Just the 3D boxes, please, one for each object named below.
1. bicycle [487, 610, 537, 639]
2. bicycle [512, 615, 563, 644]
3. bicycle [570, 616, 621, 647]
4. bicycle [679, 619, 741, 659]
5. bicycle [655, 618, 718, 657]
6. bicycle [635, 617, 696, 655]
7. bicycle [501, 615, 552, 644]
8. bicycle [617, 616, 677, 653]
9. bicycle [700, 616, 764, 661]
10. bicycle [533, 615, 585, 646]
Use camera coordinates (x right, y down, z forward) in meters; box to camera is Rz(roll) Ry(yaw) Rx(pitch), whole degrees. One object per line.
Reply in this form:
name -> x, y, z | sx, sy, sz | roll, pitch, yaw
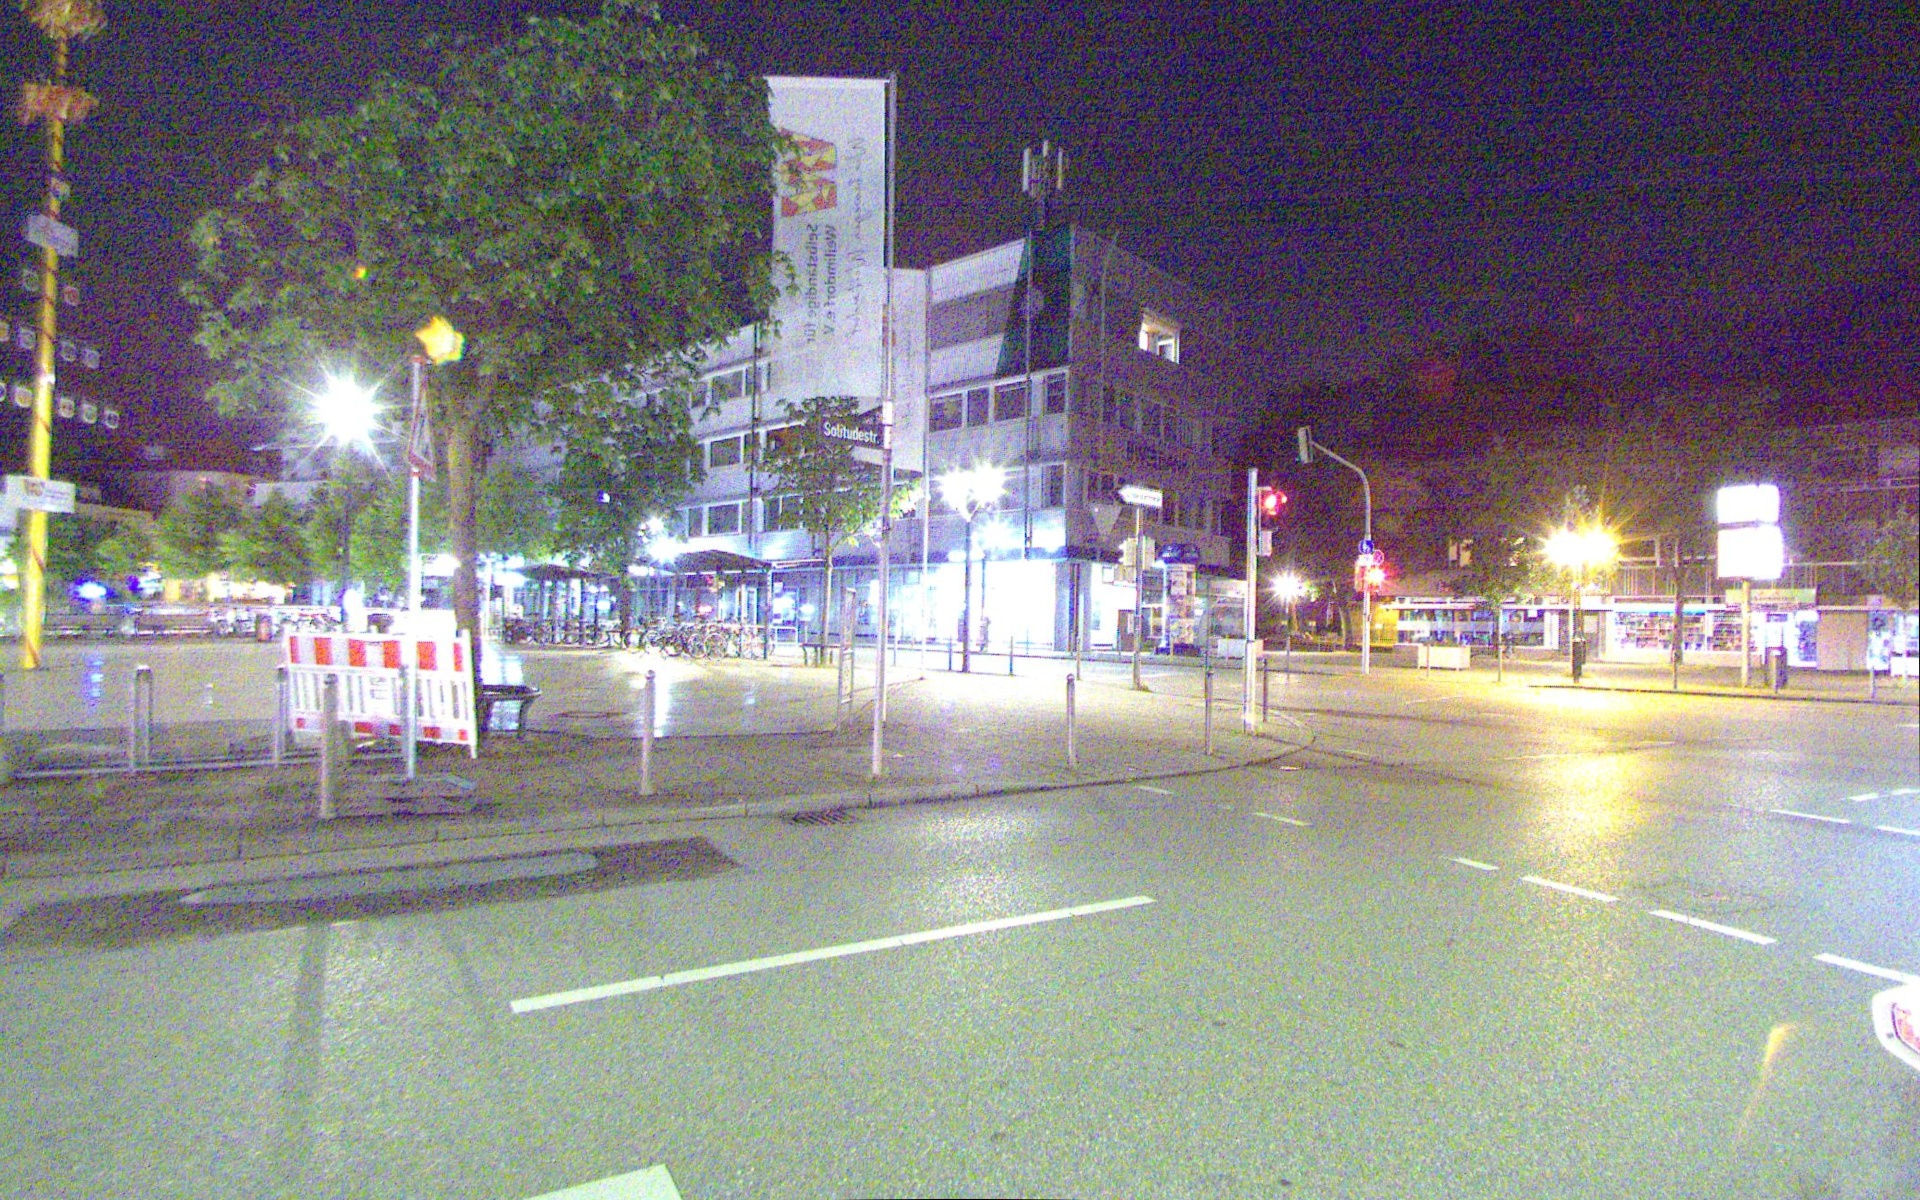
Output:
bicycle -> -15.549, 0.858, 34.887 | 0.473, 0.970, 1.525 | 2, 0, 44
bicycle -> -14.183, 0.992, 33.742 | 0.473, 0.970, 1.525 | 2, 0, 44
bicycle -> -12.018, 1.039, 33.131 | 0.473, 0.970, 1.525 | 2, 0, 44
bicycle -> -6.357, 0.984, 25.564 | 0.440, 0.970, 1.525 | 2, 0, 43
bicycle -> -7.107, 0.980, 26.146 | 0.473, 0.970, 1.525 | 2, 0, 44
bicycle -> -7.849, 0.963, 26.826 | 0.473, 0.970, 1.525 | 2, 0, 44
bicycle -> -14.825, 1.000, 34.374 | 0.473, 0.970, 1.525 | 2, 0, 44
bicycle -> -8.529, 0.945, 27.427 | 0.473, 0.970, 1.525 | 2, 0, 44
bicycle -> -5.650, 0.952, 24.928 | 0.440, 1.068, 1.525 | 2, 0, 43
bicycle -> -13.179, 1.004, 33.067 | 0.473, 0.970, 1.525 | 2, 0, 44
